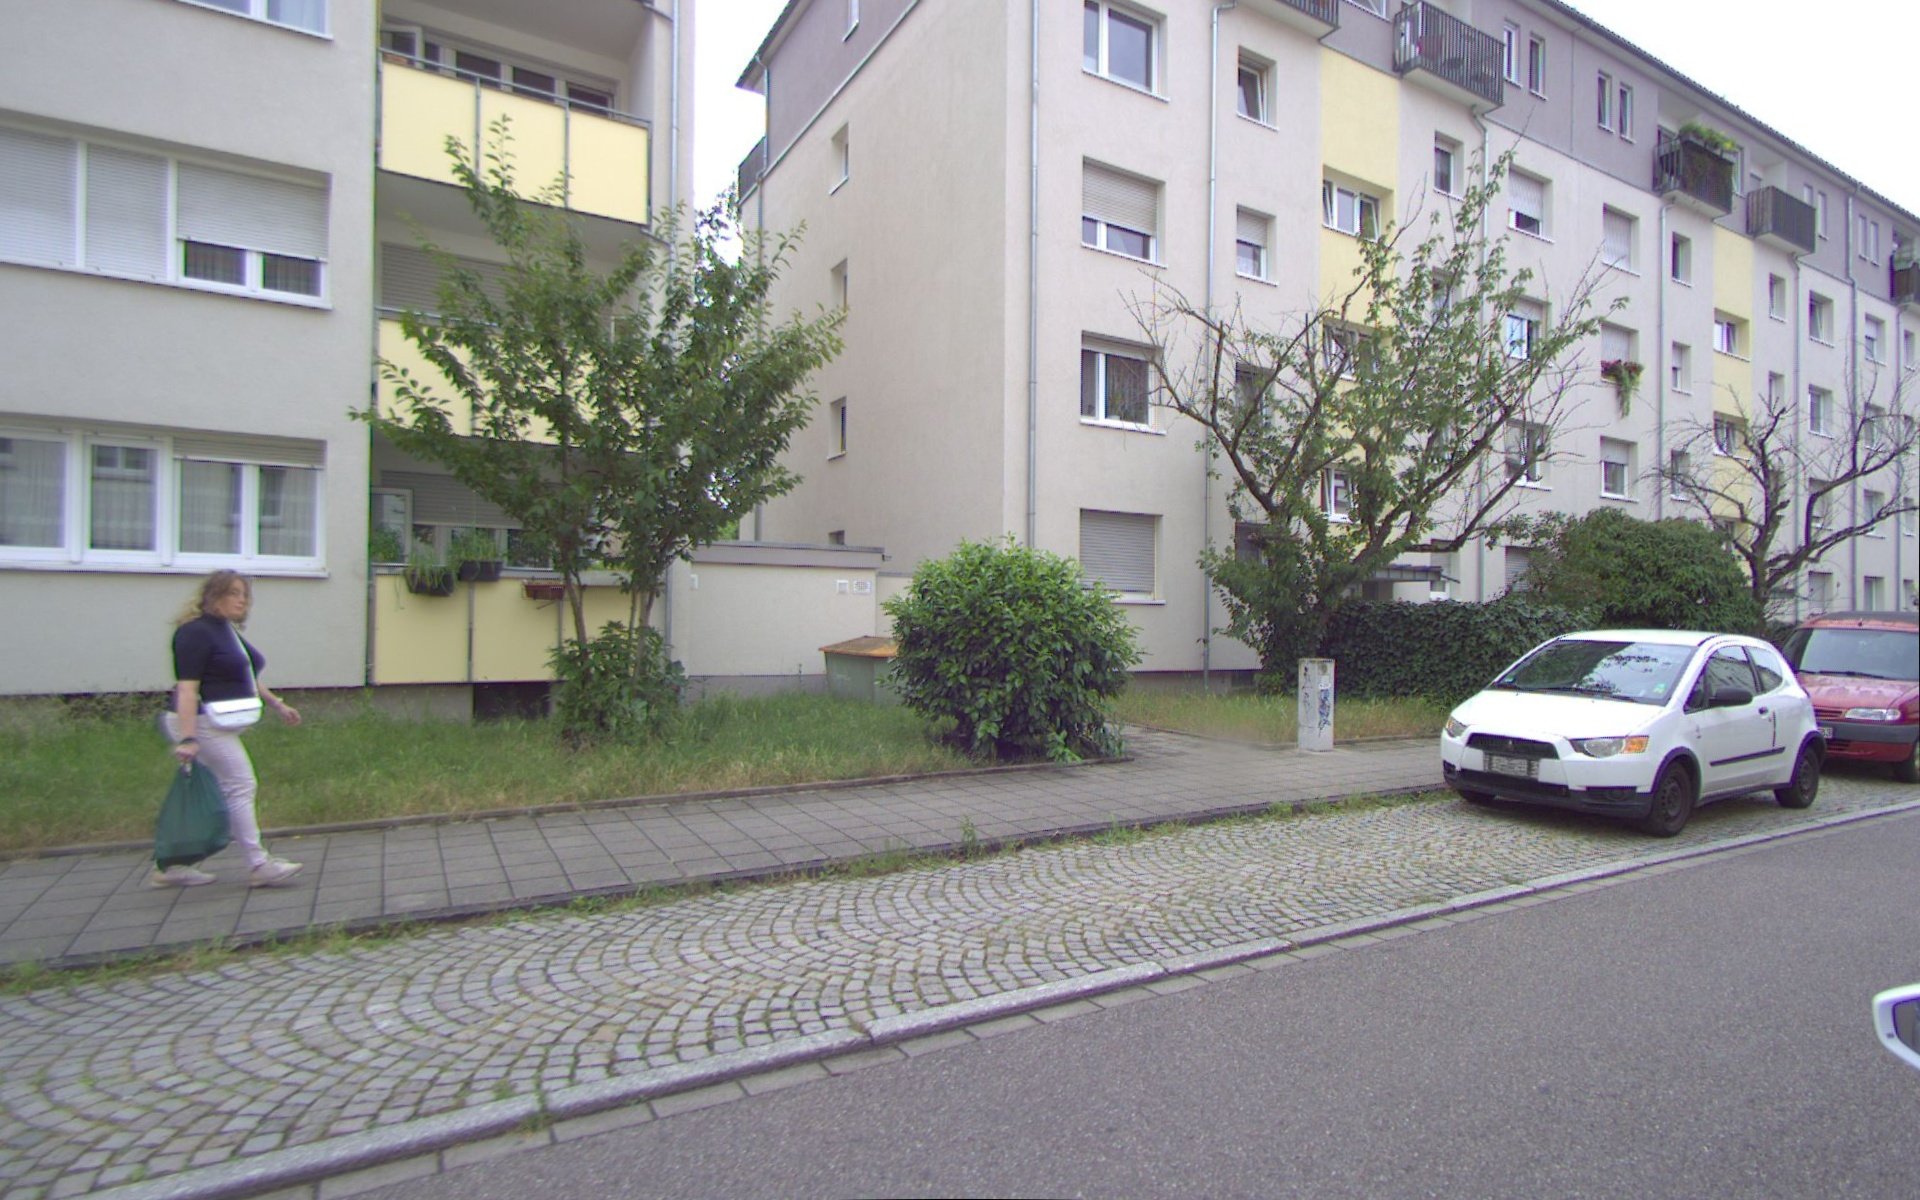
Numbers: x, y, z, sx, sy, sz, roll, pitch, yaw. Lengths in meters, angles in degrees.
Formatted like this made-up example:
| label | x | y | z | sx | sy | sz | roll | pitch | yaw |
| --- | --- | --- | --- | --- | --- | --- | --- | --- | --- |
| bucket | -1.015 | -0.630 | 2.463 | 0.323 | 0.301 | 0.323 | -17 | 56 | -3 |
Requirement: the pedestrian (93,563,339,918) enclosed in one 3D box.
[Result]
| label | x | y | z | sx | sy | sz | roll | pitch | yaw |
| --- | --- | --- | --- | --- | --- | --- | --- | --- | --- |
| pedestrian | -3.812 | 0.657 | 5.219 | 0.937 | 1.631 | 0.794 | 1 | -1 | -35 |

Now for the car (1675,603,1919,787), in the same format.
| label | x | y | z | sx | sy | sz | roll | pitch | yaw |
| --- | --- | --- | --- | --- | --- | --- | --- | --- | --- |
| car | 10.566 | 0.985 | 11.924 | 4.315 | 1.794 | 1.945 | 1 | 0 | -33 |

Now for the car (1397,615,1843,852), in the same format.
| label | x | y | z | sx | sy | sz | roll | pitch | yaw |
| --- | --- | --- | --- | --- | --- | --- | --- | --- | --- |
| car | 5.767 | 0.977 | 8.696 | 3.826 | 1.591 | 1.712 | 1 | 1 | -31 |
